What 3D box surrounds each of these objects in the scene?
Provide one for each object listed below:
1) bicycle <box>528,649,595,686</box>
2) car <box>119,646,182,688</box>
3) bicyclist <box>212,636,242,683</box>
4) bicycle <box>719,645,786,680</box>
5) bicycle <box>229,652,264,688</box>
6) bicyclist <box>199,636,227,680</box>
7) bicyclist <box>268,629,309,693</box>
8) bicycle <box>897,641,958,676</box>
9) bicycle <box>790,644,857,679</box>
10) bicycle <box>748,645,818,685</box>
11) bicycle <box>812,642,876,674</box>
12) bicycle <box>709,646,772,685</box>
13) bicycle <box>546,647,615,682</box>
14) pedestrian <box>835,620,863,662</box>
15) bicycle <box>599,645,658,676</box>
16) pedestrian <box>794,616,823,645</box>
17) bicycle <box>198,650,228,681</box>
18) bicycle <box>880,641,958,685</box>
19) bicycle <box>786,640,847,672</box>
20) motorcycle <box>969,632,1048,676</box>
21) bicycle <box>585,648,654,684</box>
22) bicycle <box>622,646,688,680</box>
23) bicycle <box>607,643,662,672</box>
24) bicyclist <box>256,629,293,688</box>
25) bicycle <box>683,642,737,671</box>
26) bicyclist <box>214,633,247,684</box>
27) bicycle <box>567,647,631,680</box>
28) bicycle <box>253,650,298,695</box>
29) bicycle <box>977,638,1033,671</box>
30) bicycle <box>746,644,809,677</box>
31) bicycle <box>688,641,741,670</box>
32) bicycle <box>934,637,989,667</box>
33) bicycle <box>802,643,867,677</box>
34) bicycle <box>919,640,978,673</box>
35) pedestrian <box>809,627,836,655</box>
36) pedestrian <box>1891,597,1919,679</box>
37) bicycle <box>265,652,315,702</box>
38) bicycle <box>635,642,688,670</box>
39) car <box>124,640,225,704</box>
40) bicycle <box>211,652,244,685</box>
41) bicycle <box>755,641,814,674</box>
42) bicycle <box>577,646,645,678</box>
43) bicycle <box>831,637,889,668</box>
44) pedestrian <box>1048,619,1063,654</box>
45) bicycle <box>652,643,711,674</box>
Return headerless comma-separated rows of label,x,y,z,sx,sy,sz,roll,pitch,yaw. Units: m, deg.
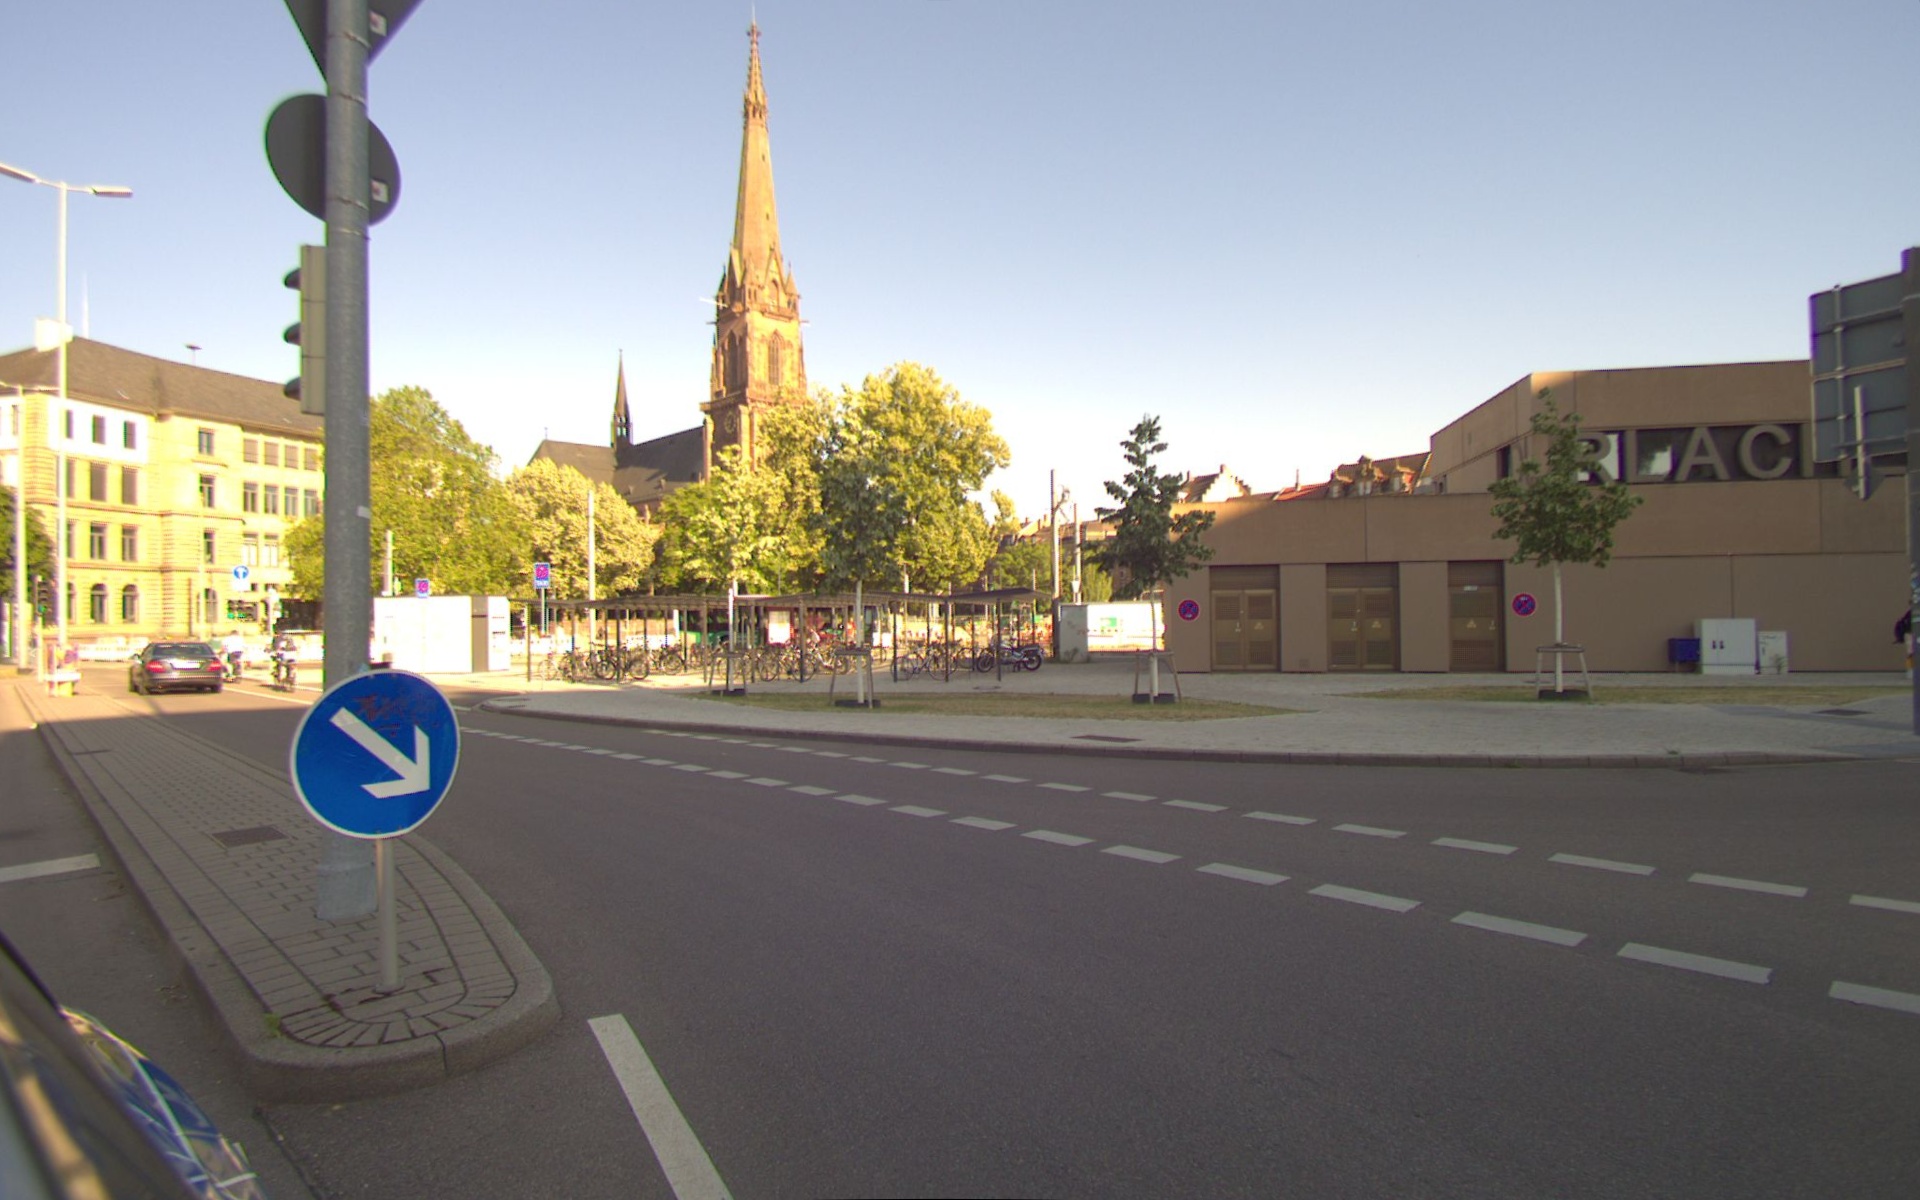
bicycle,-12.131,2.036,30.810,1.956,1.062,0.564,-1,0,16
car,-28.546,2.313,35.644,1.364,1.348,3.506,1,-2,-45
bicyclist,-26.526,2.138,36.621,0.852,1.666,0.946,0,-2,-38
bicycle,-6.590,1.972,32.221,1.909,1.051,0.864,-1,0,9
bicycle,-24.125,2.353,34.207,0.868,1.105,2.193,0,-2,-38
bicyclist,-28.660,2.212,38.817,0.852,1.666,0.946,0,-2,-38
bicyclist,-18.338,1.651,27.628,0.753,1.681,1.063,-2,0,-42
bicycle,-1.008,1.826,31.516,1.825,1.051,0.522,-1,0,6
bicycle,-4.306,1.928,31.944,2.012,1.051,0.602,-1,0,11
bicycle,-5.159,1.900,29.523,1.952,1.114,0.565,-1,0,11
bicycle,-3.972,1.988,34.544,2.084,1.051,0.603,-1,0,9
bicycle,-6.537,1.954,30.170,1.778,1.114,0.485,-1,0,5
bicycle,-12.149,2.054,32.386,2.001,1.062,0.680,-1,0,12
pedestrian,-5.523,2.040,50.428,1.020,2.029,1.130,-2,0,13
bicycle,-11.881,2.151,36.252,1.947,1.062,0.511,-1,0,3
pedestrian,-7.566,1.505,50.533,1.068,1.359,1.049,-2,0,13
bicycle,-28.605,2.501,38.726,0.868,1.105,2.193,0,-2,-38
bicycle,-1.145,1.785,28.779,2.099,1.114,0.743,-2,0,7
bicycle,-5.104,1.981,35.982,2.049,1.097,0.565,-1,0,10
motorcycle,1.511,1.683,31.487,2.332,1.257,0.717,-2,0,13
bicycle,-10.400,2.021,30.929,1.950,1.062,0.566,-1,0,8
bicycle,-9.940,2.040,33.008,1.952,1.062,0.756,-1,0,11
bicycle,-12.237,2.158,38.046,1.950,1.062,0.496,-1,0,8
bicyclist,-20.364,1.721,30.059,0.753,1.681,1.063,-2,0,-42
bicycle,-9.354,2.118,37.874,1.953,1.062,0.416,-1,0,12
bicyclist,-24.454,1.951,33.933,0.852,1.666,0.946,0,-2,-38
bicycle,-11.894,2.083,33.324,1.916,1.062,0.680,-1,0,12
bicycle,-20.316,2.137,30.018,0.753,1.196,2.609,-2,0,-41
bicycle,1.501,1.793,33.461,1.826,1.051,0.522,-1,0,7
bicycle,-6.062,1.995,33.590,1.909,1.051,0.765,-1,0,9
bicycle,-9.280,2.114,38.293,1.953,1.062,0.416,-1,0,12
bicycle,0.063,1.860,36.102,1.910,1.051,0.521,-1,0,10
bicycle,-4.099,1.949,33.038,2.014,1.051,0.601,-1,0,14
bicycle,-0.392,1.885,33.856,1.910,1.051,0.521,-1,0,10
pedestrian,-7.039,2.111,51.795,1.068,1.359,1.049,-2,0,13
pedestrian,21.158,0.817,22.262,0.657,1.744,0.734,-2,0,9
bicycle,-18.271,2.066,27.577,0.753,1.196,2.609,-2,0,-41
bicycle,-11.338,2.122,38.448,1.953,1.062,0.416,-1,0,12
car,-21.453,1.892,27.582,1.780,1.455,3.981,0,0,-44
bicycle,-26.538,2.478,36.644,0.868,1.105,2.193,0,-2,-38
bicycle,-6.056,1.987,34.944,1.910,1.097,0.535,-1,0,10
bicycle,-12.043,2.139,34.957,2.095,1.062,0.835,-1,0,9
bicycle,-3.652,1.921,36.934,2.049,1.097,0.565,-1,0,10
pedestrian,4.757,1.801,50.172,0.537,1.699,0.484,1,-2,-43
bicycle,-9.832,2.066,35.790,1.950,1.062,0.566,-1,0,8
